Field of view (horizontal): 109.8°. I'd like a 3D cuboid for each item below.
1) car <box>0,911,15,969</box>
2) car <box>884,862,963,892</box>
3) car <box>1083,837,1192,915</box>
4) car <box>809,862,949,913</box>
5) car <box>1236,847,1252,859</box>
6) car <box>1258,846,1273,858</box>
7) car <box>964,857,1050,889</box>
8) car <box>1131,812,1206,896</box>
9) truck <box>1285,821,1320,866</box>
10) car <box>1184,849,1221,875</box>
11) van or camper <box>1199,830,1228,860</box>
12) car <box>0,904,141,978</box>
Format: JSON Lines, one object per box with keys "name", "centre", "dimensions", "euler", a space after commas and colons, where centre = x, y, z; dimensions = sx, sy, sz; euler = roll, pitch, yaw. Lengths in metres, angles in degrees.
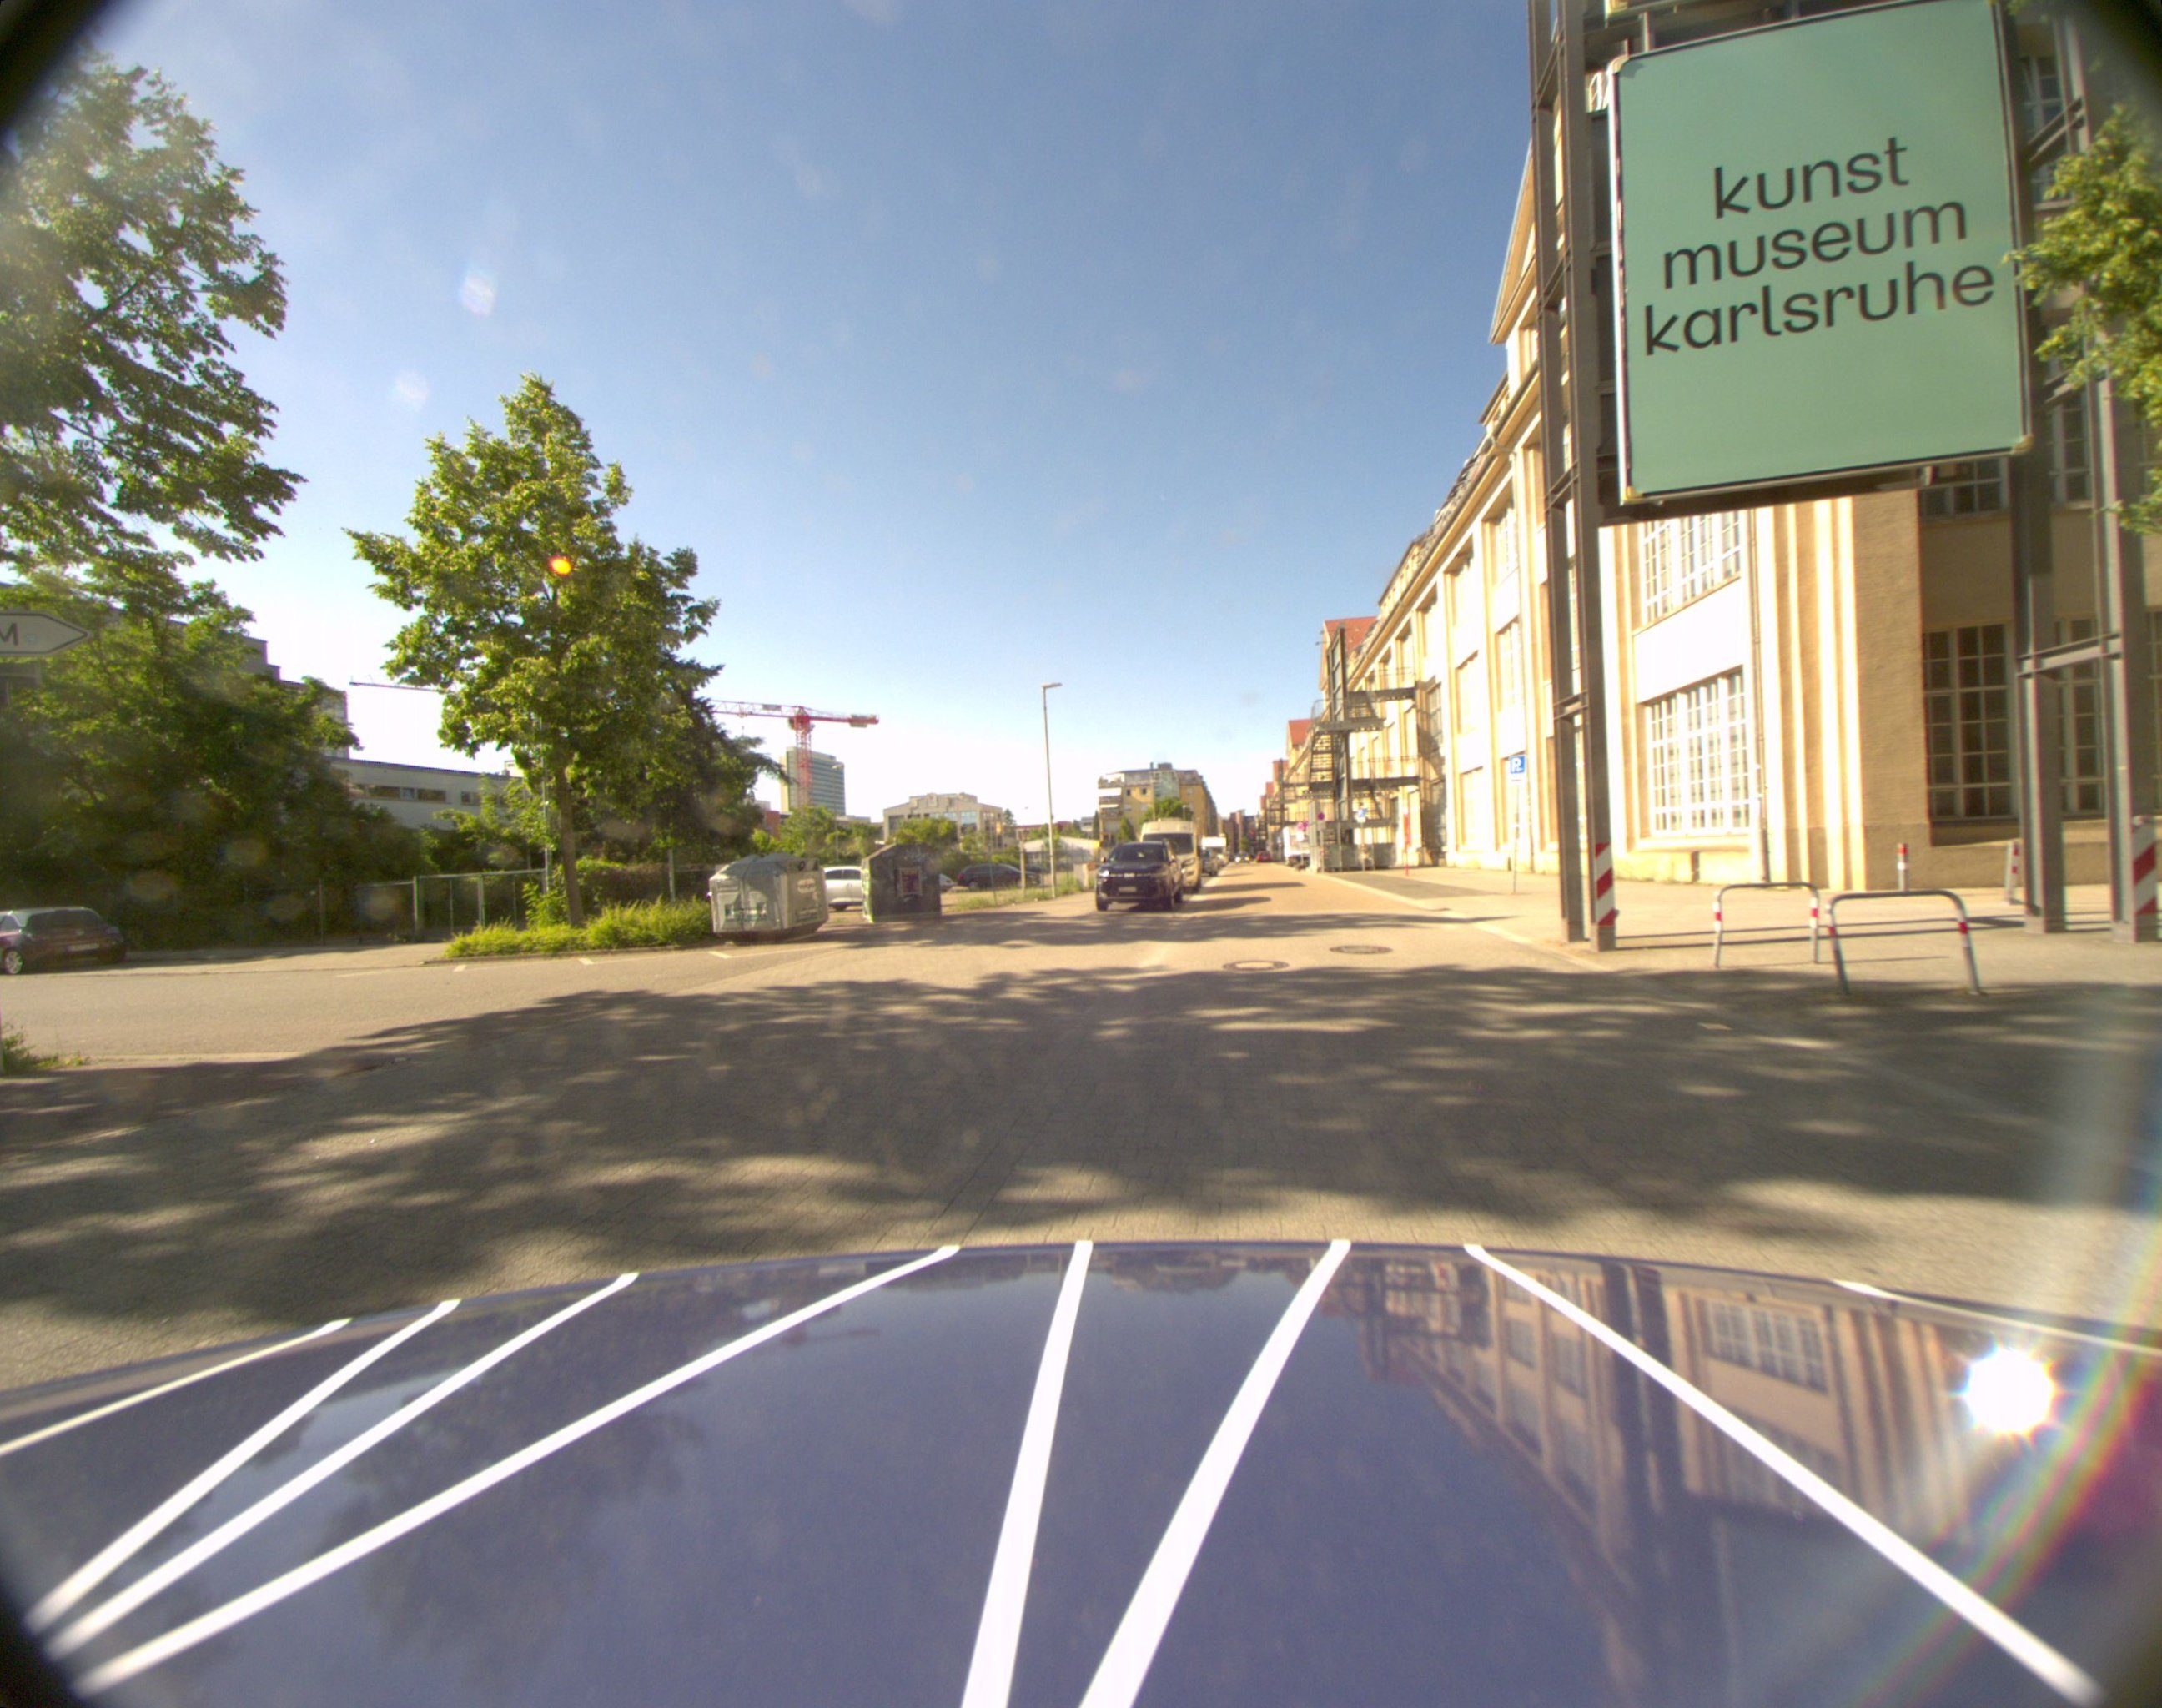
{"name": "car", "centre": [-29.916, 2.317, 19.234], "dimensions": [3.995, 1.466, 1.847], "euler": [-2, 2, 12]}
{"name": "car", "centre": [-9.478, 1.376, 45.849], "dimensions": [4.236, 1.551, 1.899], "euler": [-3, 0, 11]}
{"name": "car", "centre": [1.535, 0.486, 18.980], "dimensions": [1.996, 1.685, 4.107], "euler": [-2, 0, 14]}
{"name": "car", "centre": [-7.292, 1.199, 27.553], "dimensions": [4.418, 1.600, 2.002], "euler": [-3, 0, 14]}
{"name": "car", "centre": [20.752, -0.183, 96.722], "dimensions": [1.848, 1.417, 4.229], "euler": [-2, 0, 13]}
{"name": "car", "centre": [23.559, -0.225, 97.060], "dimensions": [1.758, 1.440, 4.004], "euler": [-3, 0, 14]}
{"name": "car", "centre": [-4.084, 1.064, 42.052], "dimensions": [4.235, 1.551, 1.899], "euler": [-3, 0, 14]}
{"name": "car", "centre": [3.271, -0.009, 27.185], "dimensions": [2.161, 2.581, 6.288], "euler": [-2, 0, 11]}
{"name": "truck", "centre": [18.353, -0.879, 63.296], "dimensions": [2.496, 3.411, 7.134], "euler": [-2, 1, 14]}
{"name": "car", "centre": [7.280, 0.443, 45.199], "dimensions": [1.848, 1.417, 4.228], "euler": [-3, 0, 13]}
{"name": "van or camper", "centre": [13.542, -0.913, 77.393], "dimensions": [2.720, 2.840, 5.138], "euler": [-2, 1, 11]}
{"name": "car", "centre": [-24.992, 2.063, 18.060], "dimensions": [3.541, 1.466, 1.724], "euler": [-2, 2, 10]}
